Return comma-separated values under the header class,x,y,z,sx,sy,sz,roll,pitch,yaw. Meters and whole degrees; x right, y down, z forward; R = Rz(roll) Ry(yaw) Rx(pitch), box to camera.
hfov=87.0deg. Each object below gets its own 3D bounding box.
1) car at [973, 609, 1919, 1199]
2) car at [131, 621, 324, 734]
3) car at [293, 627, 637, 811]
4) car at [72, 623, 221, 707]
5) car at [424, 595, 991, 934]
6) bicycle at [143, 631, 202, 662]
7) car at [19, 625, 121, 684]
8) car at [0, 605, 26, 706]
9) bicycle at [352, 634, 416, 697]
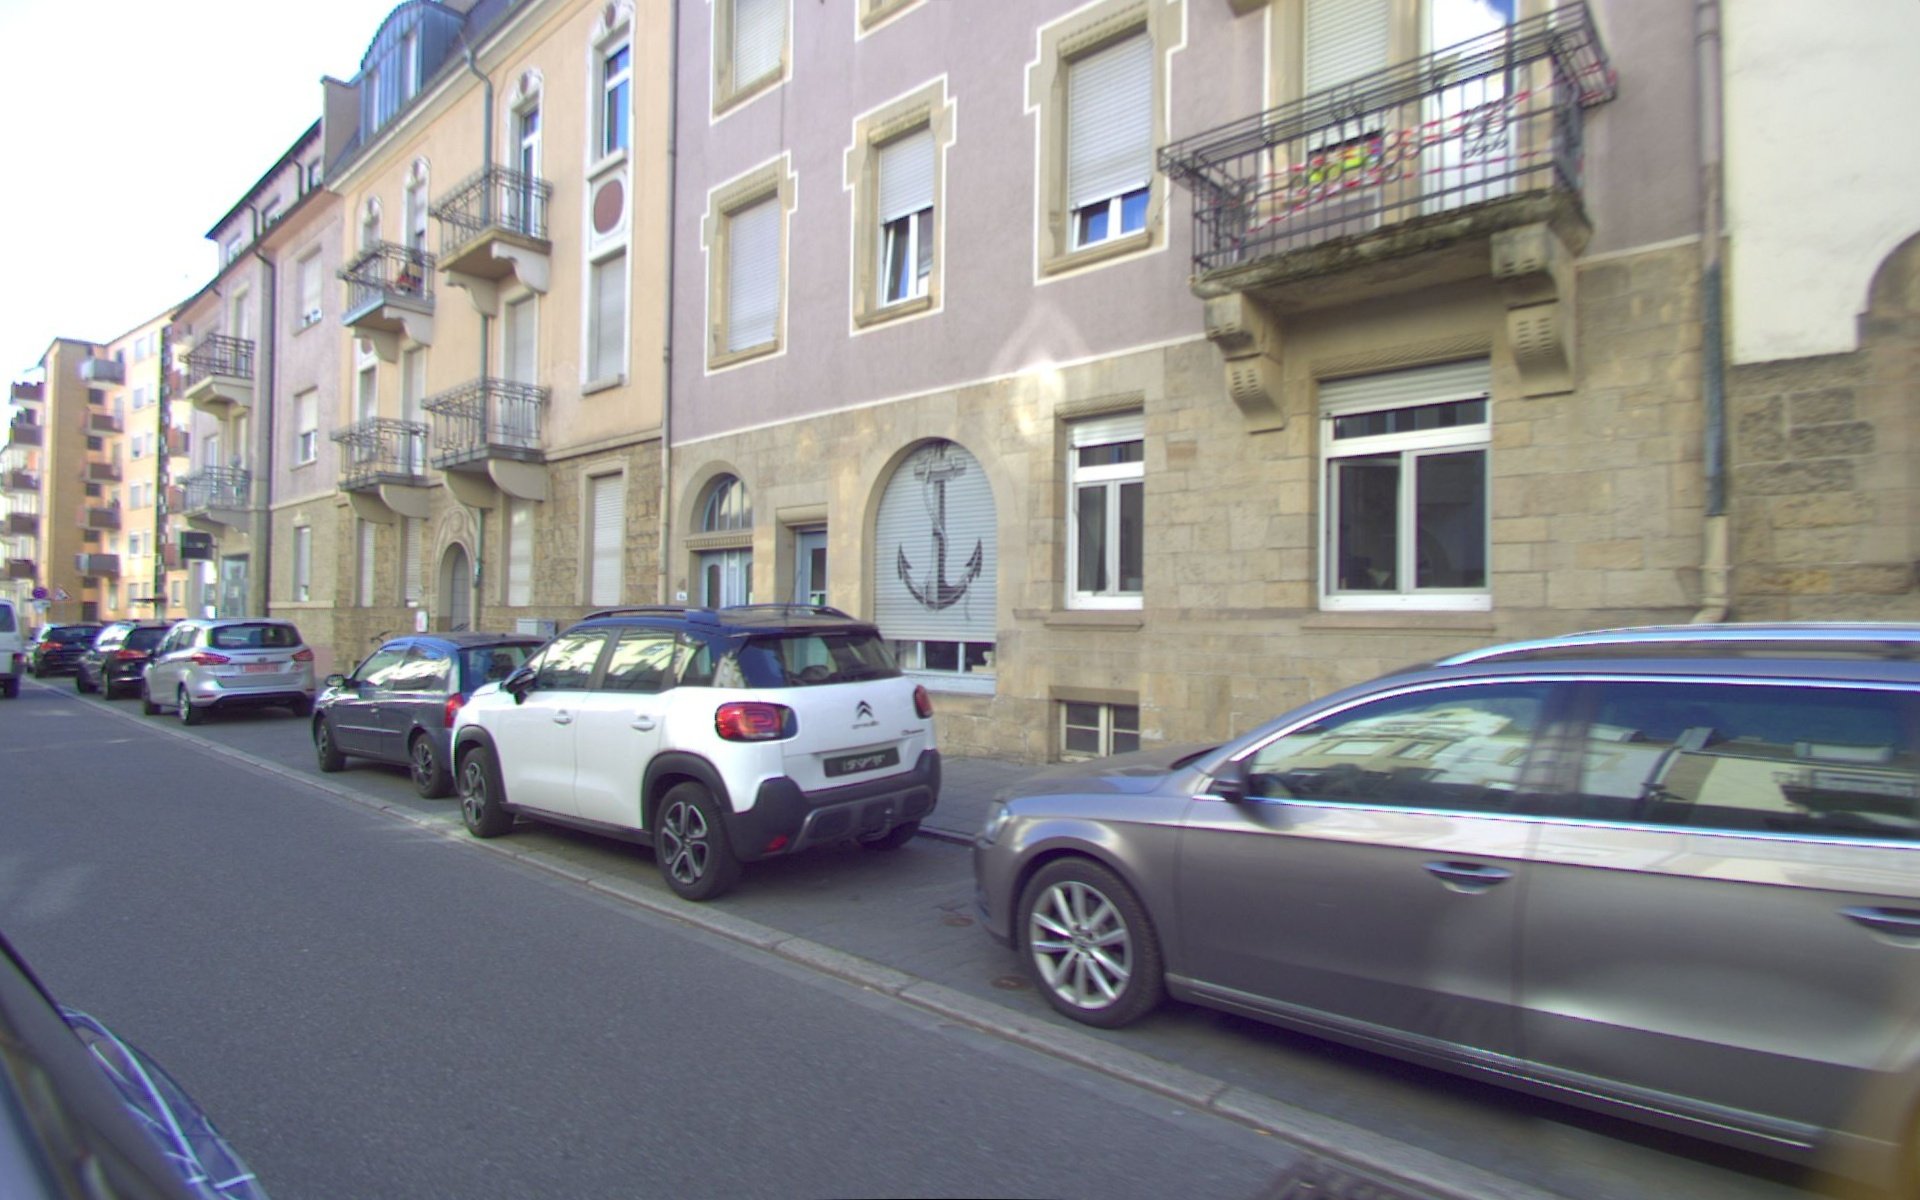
class,x,y,z,sx,sy,sz,roll,pitch,yaw
car,2.147,0.796,3.259,4.280,1.498,1.556,-2,-1,43
car,-11.801,1.149,16.224,3.721,1.549,1.697,-2,0,41
car,-4.970,1.018,9.985,3.662,1.404,1.656,-2,1,39
car,-16.701,1.265,20.704,4.108,1.533,1.696,-1,-3,42
car,-1.900,0.839,6.874,4.018,1.595,1.697,-2,1,41
bicycle,-29.852,1.740,38.368,0.593,1.156,1.643,-1,-2,37
car,-24.326,1.433,27.608,3.865,1.397,1.696,-2,1,43
car,-20.728,1.089,20.696,4.598,1.952,1.843,-2,-5,42
bicycle,-11.663,1.314,20.482,1.648,1.221,0.562,-1,-3,40
